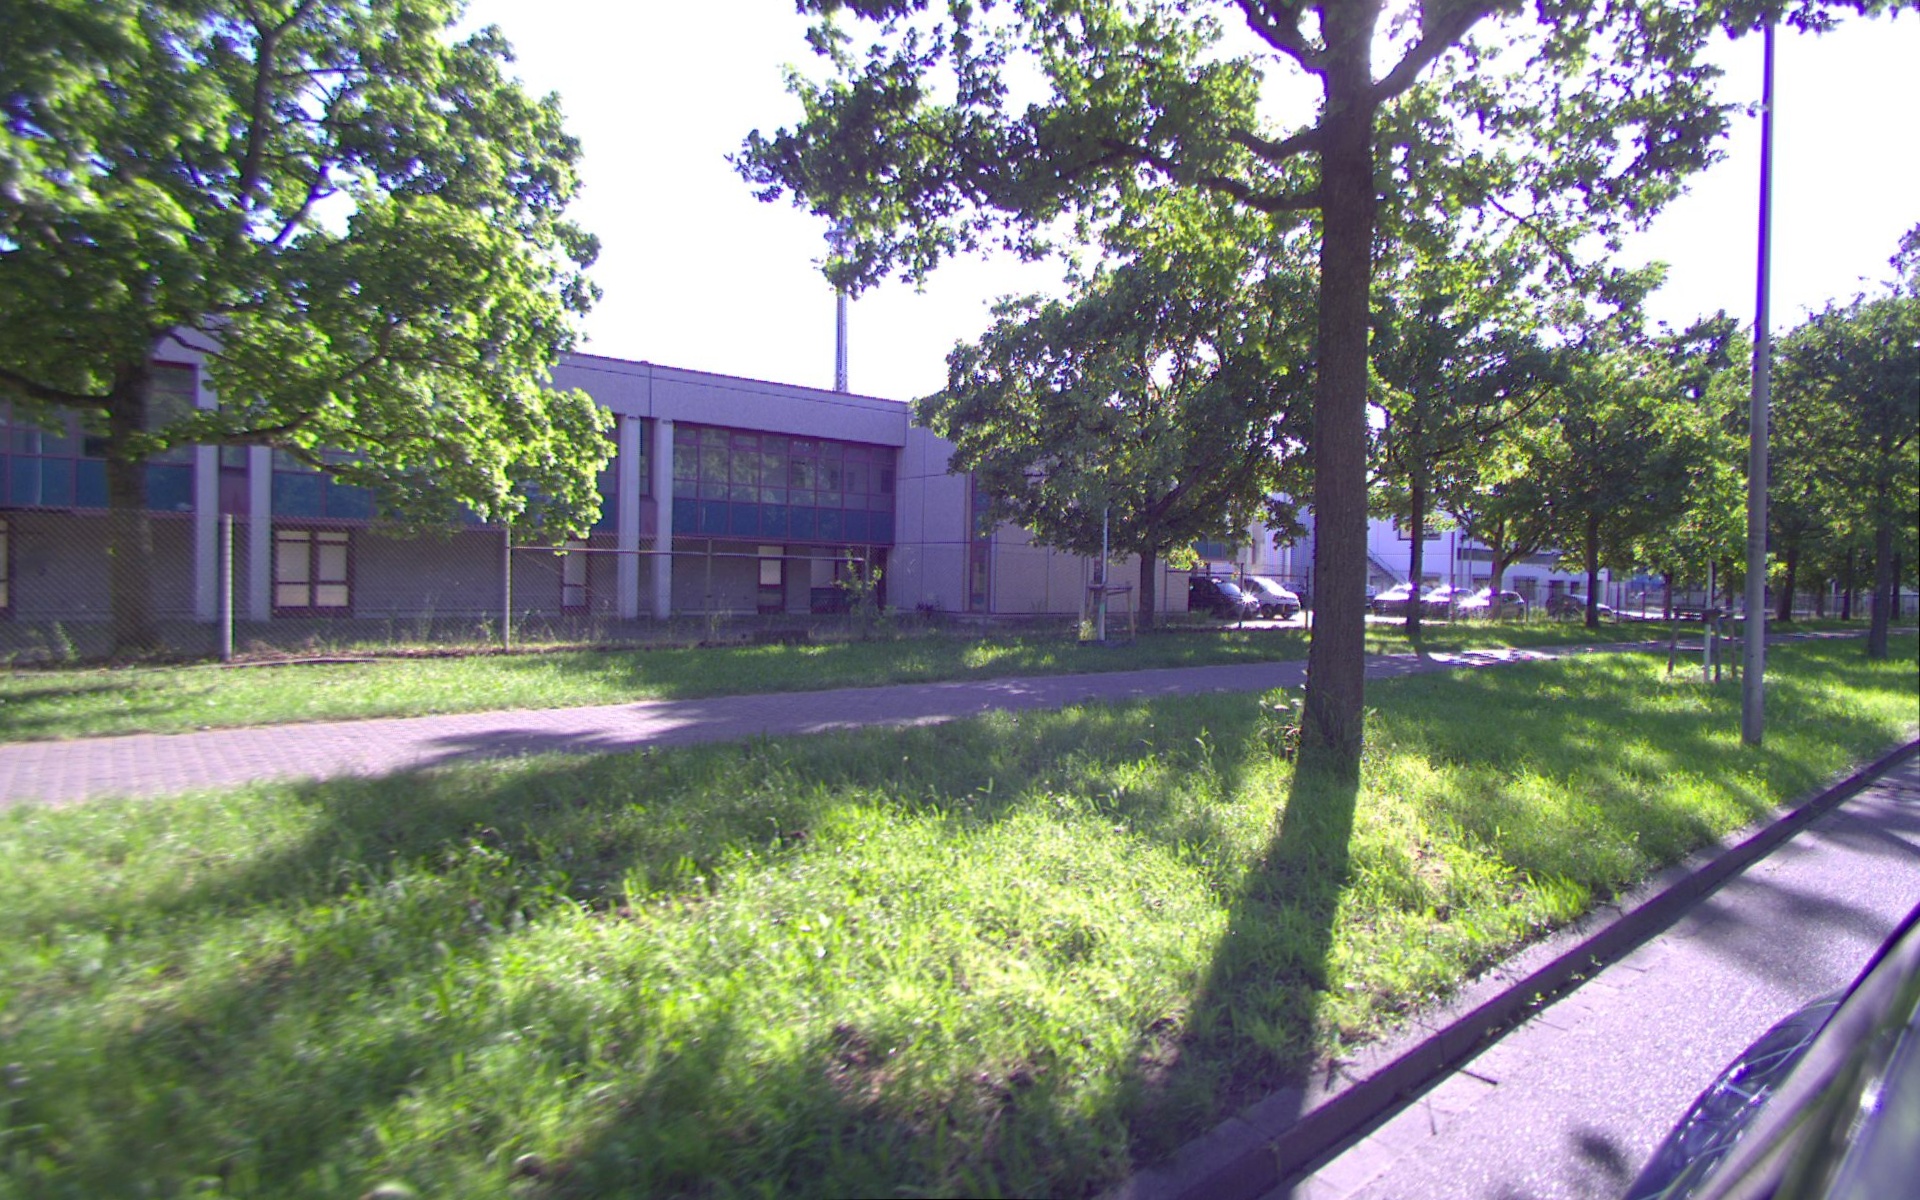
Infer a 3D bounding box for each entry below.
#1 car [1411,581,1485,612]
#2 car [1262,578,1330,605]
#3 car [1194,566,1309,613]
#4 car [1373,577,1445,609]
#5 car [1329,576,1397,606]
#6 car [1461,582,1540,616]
[{"bbox_3d":[26.373,-0.213,54.618,4.377,1.578,1.998,0,2,-40],"label":"car"},{"bbox_3d":[20.998,-0.539,63.153,4.369,1.677,1.701,0,0,-33],"label":"car"},{"bbox_3d":[14.032,-0.545,48.919,1.863,1.983,5.070,0,3,-43],"label":"car"},{"bbox_3d":[25.188,-0.386,56.694,4.377,1.694,1.998,0,2,-40],"label":"car"},{"bbox_3d":[23.242,-0.514,58.328,4.382,1.694,1.995,-1,0,-44],"label":"car"},{"bbox_3d":[27.864,-0.106,52.130,4.633,1.626,1.998,-1,2,-40],"label":"car"}]
